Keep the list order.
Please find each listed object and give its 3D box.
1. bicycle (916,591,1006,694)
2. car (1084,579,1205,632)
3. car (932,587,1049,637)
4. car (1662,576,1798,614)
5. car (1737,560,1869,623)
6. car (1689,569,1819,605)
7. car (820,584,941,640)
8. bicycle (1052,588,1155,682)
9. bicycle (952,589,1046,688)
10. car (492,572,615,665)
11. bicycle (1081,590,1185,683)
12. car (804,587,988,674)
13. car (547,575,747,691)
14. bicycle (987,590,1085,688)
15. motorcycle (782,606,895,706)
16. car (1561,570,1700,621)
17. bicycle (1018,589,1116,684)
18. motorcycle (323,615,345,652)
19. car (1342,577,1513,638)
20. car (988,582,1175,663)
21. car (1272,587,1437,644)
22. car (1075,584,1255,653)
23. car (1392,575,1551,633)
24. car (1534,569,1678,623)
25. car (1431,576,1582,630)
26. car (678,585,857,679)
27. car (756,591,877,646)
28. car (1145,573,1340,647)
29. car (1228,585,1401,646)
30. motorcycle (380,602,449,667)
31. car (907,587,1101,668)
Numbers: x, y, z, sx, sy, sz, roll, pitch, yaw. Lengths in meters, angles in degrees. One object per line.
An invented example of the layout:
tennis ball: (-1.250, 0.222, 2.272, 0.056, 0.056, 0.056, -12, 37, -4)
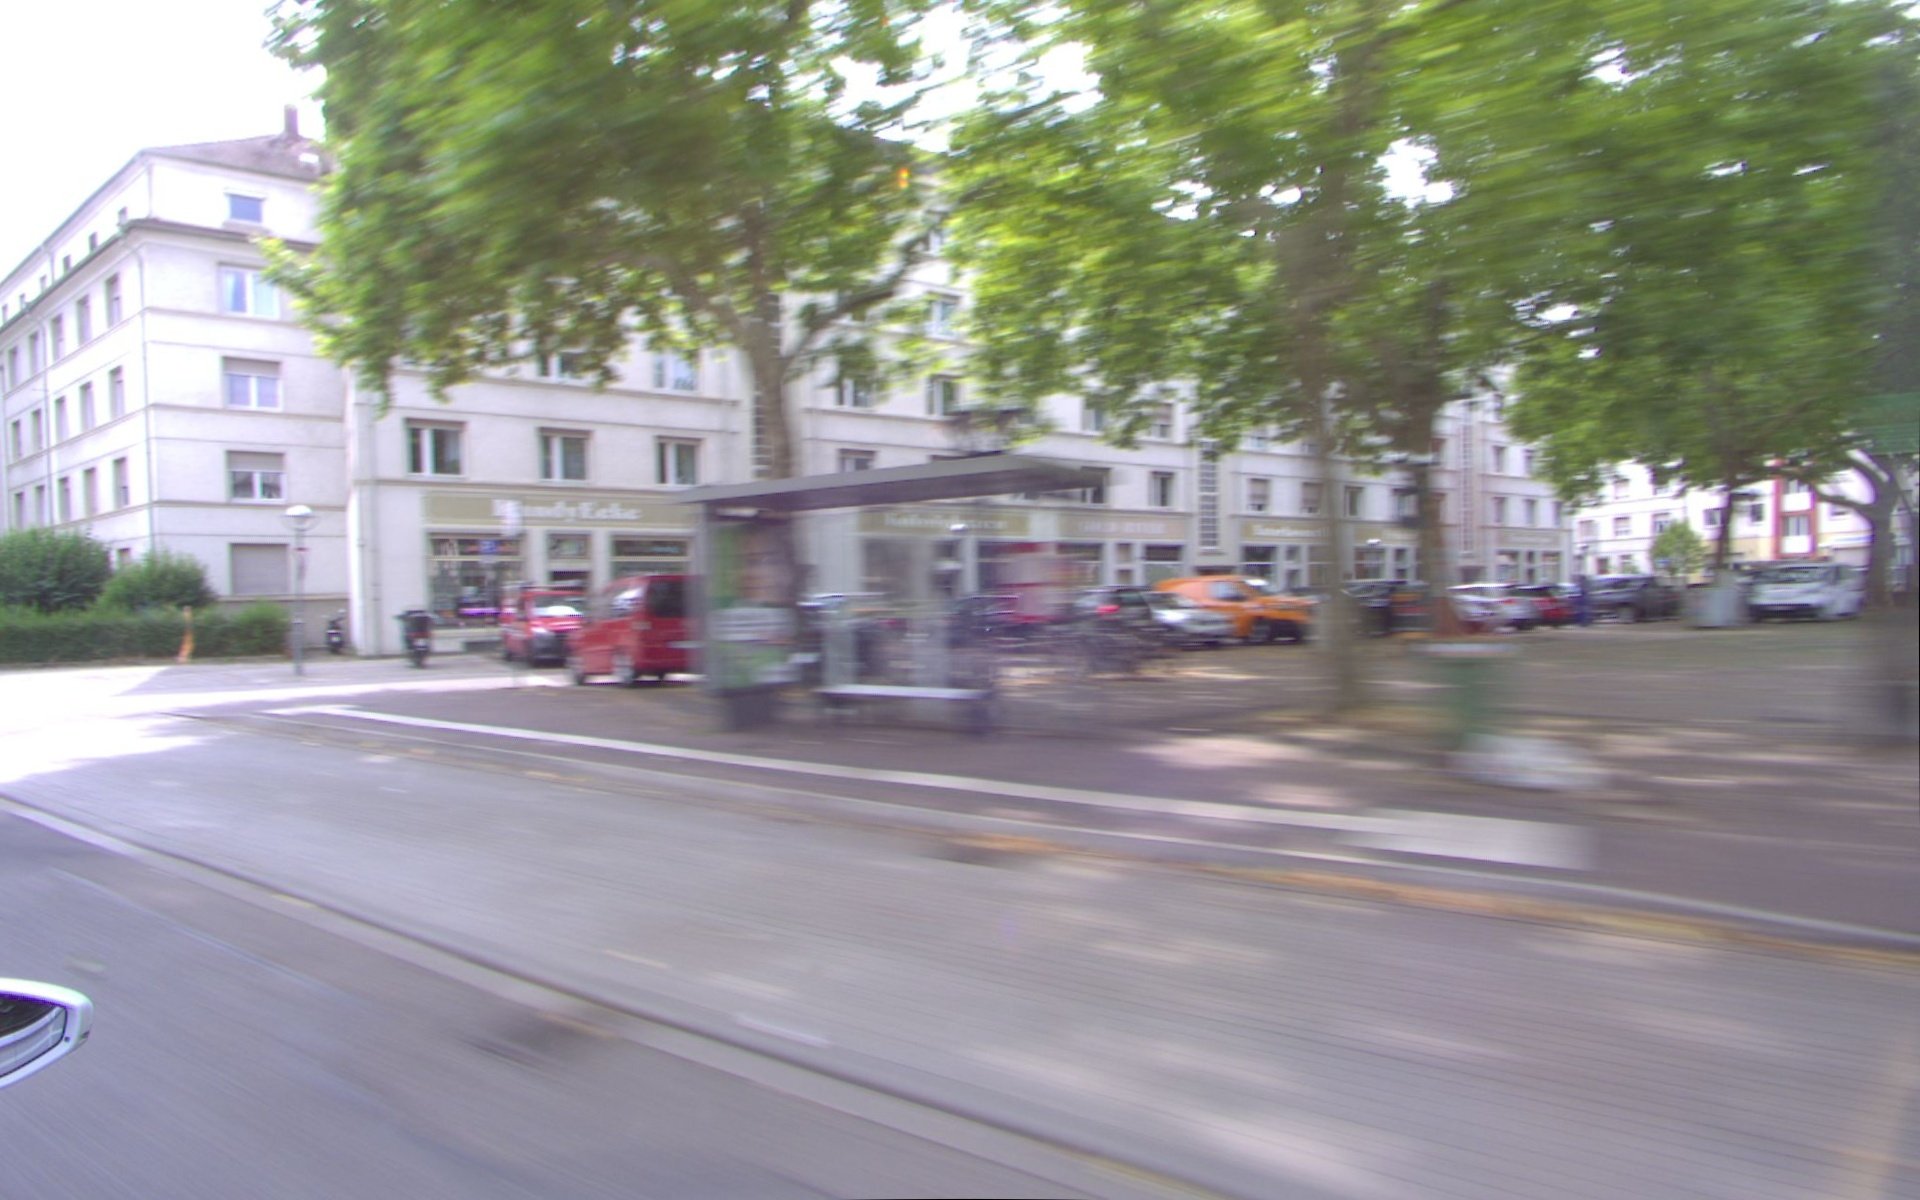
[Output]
bicycle: (-0.032, 0.587, 15.067, 0.413, 1.397, 2.301, -2, 2, -25)
car: (6.661, 0.192, 36.560, 1.975, 1.821, 4.165, -1, 0, -36)
car: (1.004, 0.408, 35.071, 1.975, 1.612, 4.165, -1, 0, -36)
car: (32.080, -0.208, 41.865, 1.967, 1.503, 4.086, -1, 1, -23)
car: (26.057, -0.282, 30.926, 4.274, 1.840, 1.987, -1, 1, -33)
car: (34.839, -0.567, 44.060, 1.967, 1.503, 4.086, -1, 1, -23)
car: (-2.558, 0.362, 31.355, 1.974, 1.612, 4.167, -1, 0, -34)
bicycle: (2.257, 0.536, 16.072, 0.413, 1.396, 2.302, -2, 1, -25)
bicycle: (0.551, 0.544, 15.303, 0.413, 1.397, 2.302, -2, 1, -25)
car: (-10.656, 0.435, 26.016, 1.974, 2.178, 4.812, -1, 0, -34)
bicycle: (2.777, 0.563, 16.317, 0.413, 1.396, 2.302, -2, 1, -25)
car: (-1.350, 0.540, 19.417, 1.727, 1.483, 4.158, -2, 0, -33)
car: (-5.503, 0.506, 17.243, 1.915, 1.728, 4.298, -2, 0, -37)
bicycle: (1.135, 0.567, 15.550, 0.413, 1.396, 2.302, -2, 1, -25)
motorcycle: (-1.610, 0.716, 13.622, 0.523, 1.239, 1.851, 0, 1, 30)
car: (25.142, -0.152, 37.628, 1.894, 1.840, 3.969, -2, 0, -38)
bicycle: (1.663, 0.537, 15.996, 0.413, 1.397, 2.302, -2, 1, -25)
motorcycle: (-18.576, 0.977, 29.708, 0.428, 1.030, 1.438, -2, 2, -36)
car: (13.706, 0.222, 29.554, 1.975, 1.639, 4.174, -2, 1, -37)
car: (2.637, 0.466, 22.444, 1.975, 1.620, 3.971, -2, 1, -37)
car: (11.199, 0.415, 28.618, 1.975, 1.483, 3.971, -2, 1, -37)
car: (4.874, 0.422, 24.234, 1.975, 1.483, 3.971, -2, 1, -37)
car: (15.807, 0.113, 31.119, 1.974, 1.662, 3.972, -2, 1, -36)
car: (23.141, -0.123, 35.975, 1.894, 1.840, 3.969, -2, 0, -38)
car: (18.101, 0.087, 33.326, 1.974, 1.662, 3.972, -2, 1, -36)
car: (-3.769, 0.557, 19.128, 1.810, 1.573, 3.971, -2, 1, -37)
car: (-4.390, 0.525, 30.121, 1.974, 1.507, 4.167, -1, 0, -34)
car: (7.106, 0.236, 25.611, 1.975, 1.717, 4.526, -2, 1, -37)
car: (9.470, 0.398, 27.004, 1.975, 1.483, 3.971, -2, 1, -37)
motorcycle: (-13.251, 0.803, 24.309, 2.281, 1.482, 0.827, 1, 2, 45)
car: (0.824, 0.533, 20.872, 1.975, 1.483, 3.971, -2, 1, -37)
